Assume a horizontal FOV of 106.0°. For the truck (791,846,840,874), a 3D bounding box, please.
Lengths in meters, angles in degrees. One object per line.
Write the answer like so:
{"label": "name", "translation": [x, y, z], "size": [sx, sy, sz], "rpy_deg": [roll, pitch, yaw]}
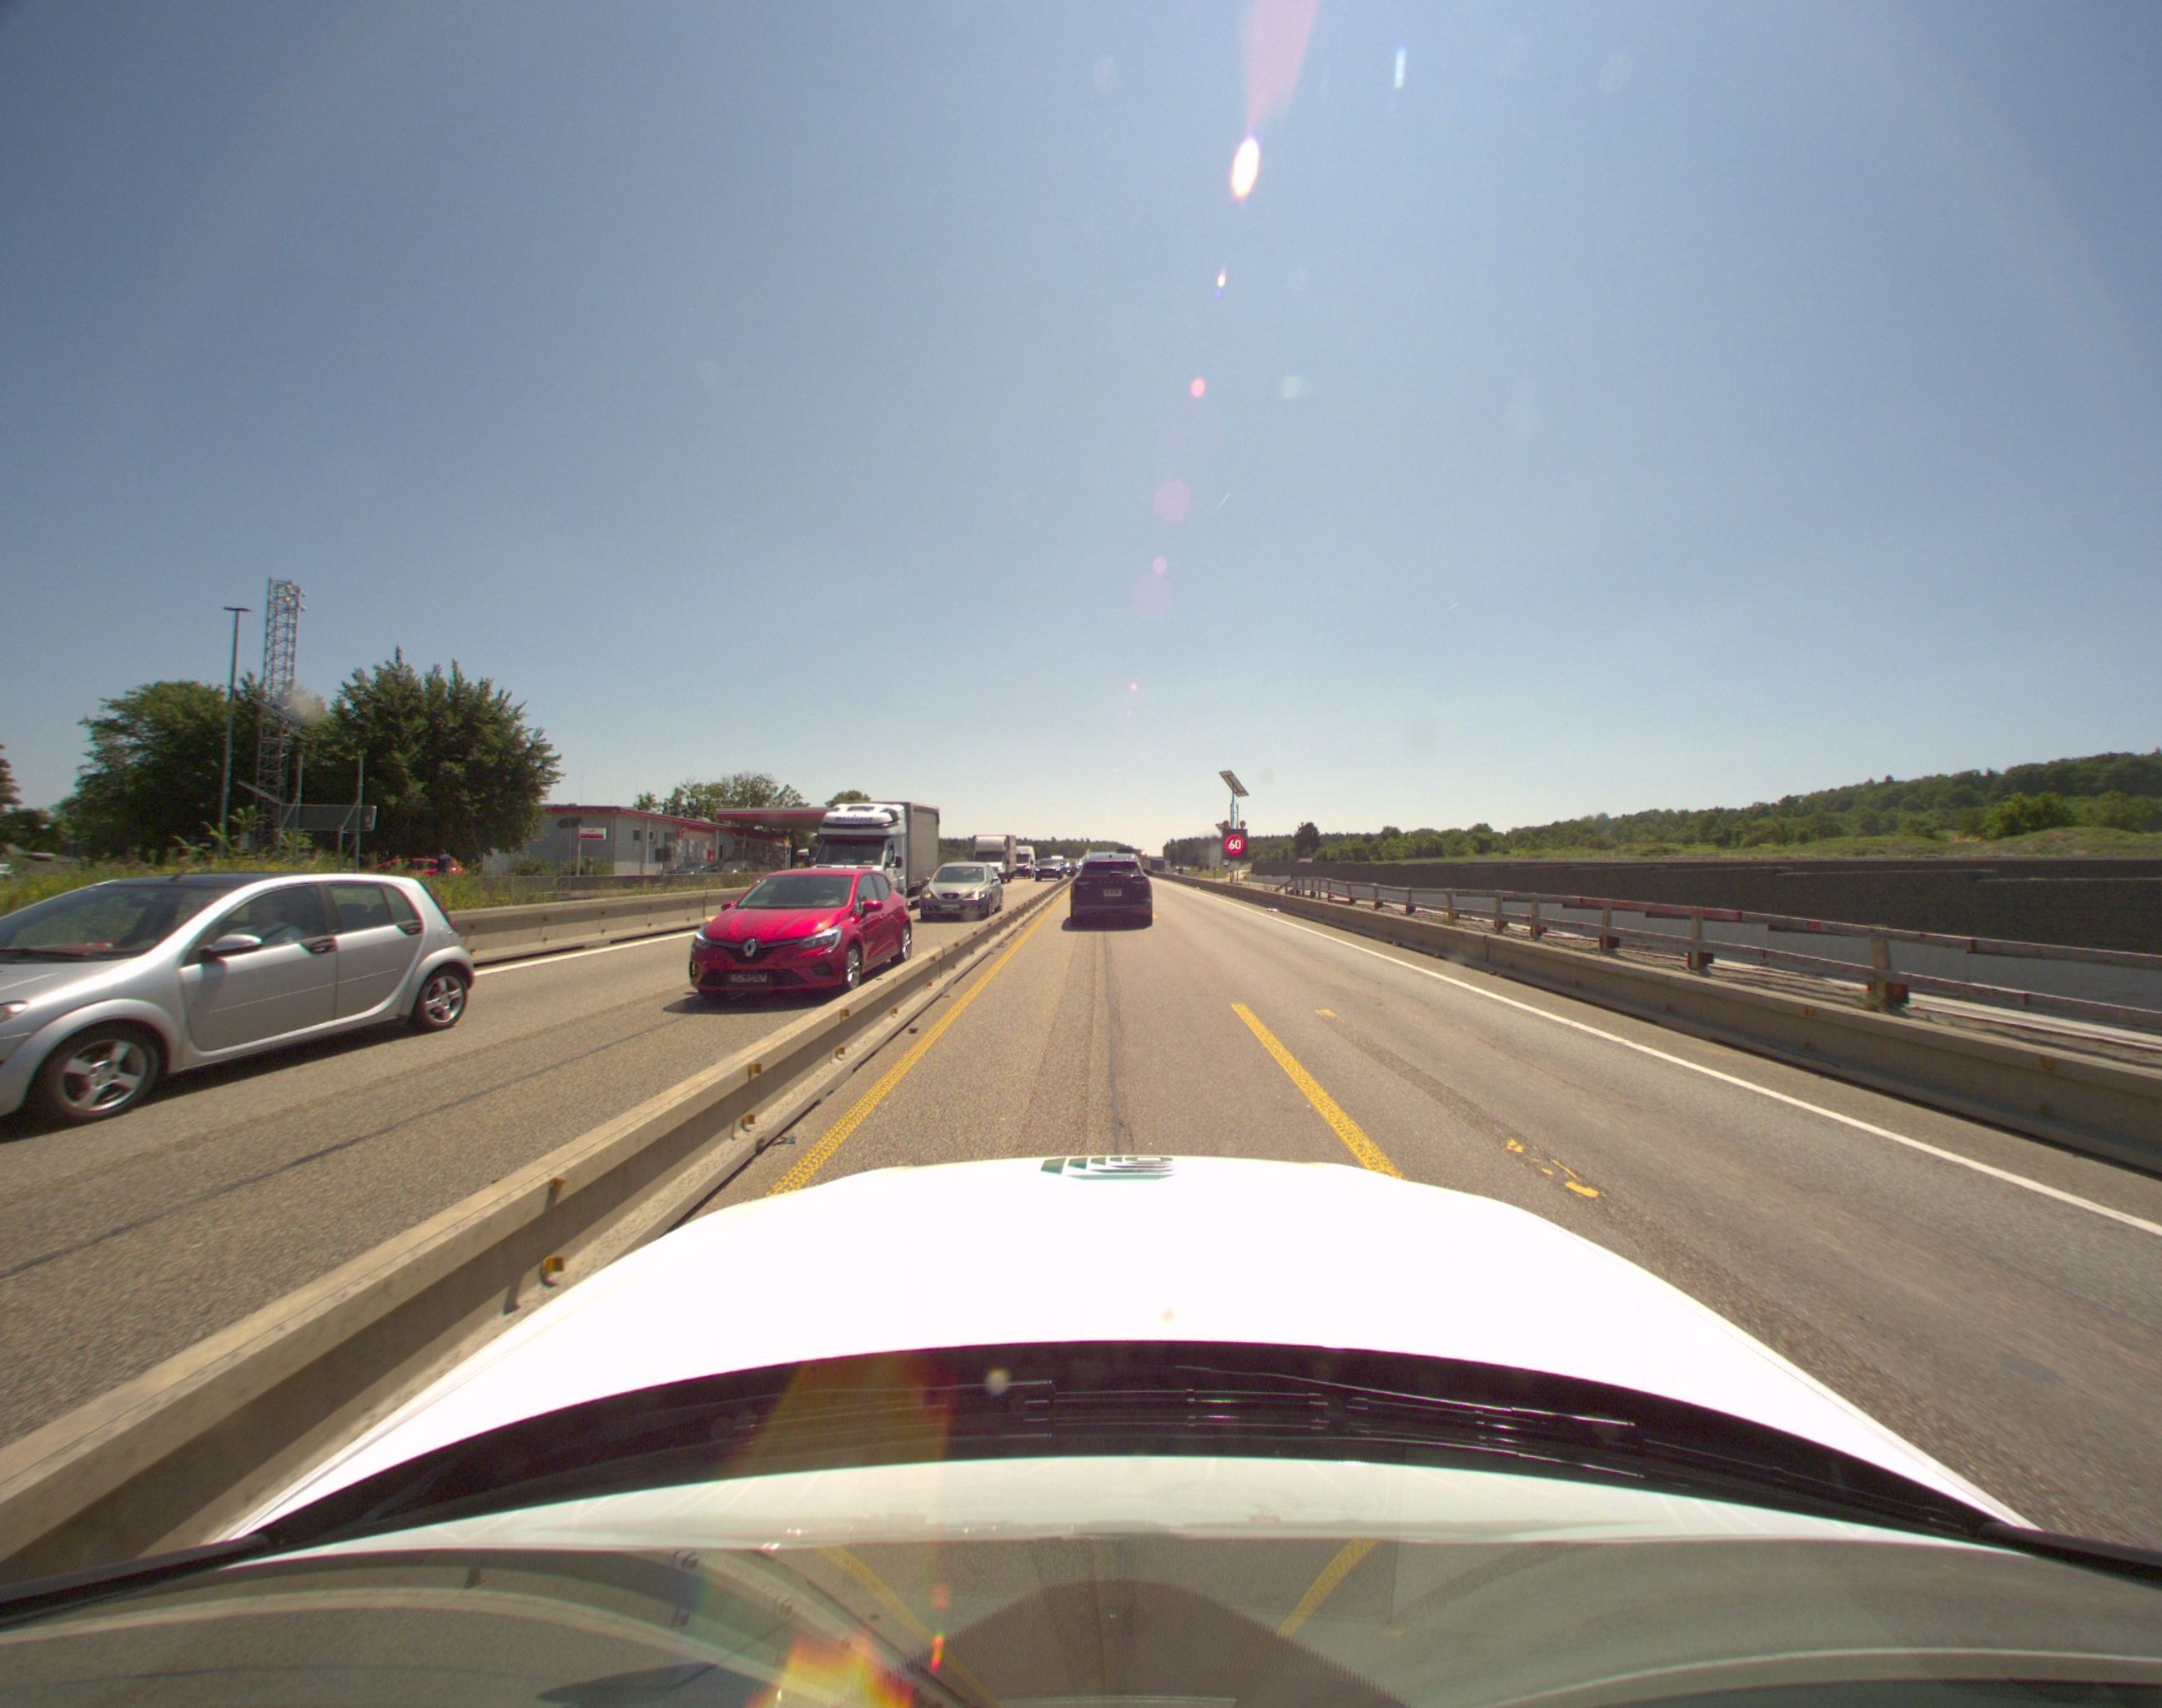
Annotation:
{"label": "truck", "translation": [-38.459, 0.879, 118.158], "size": [3.120, 3.985, 6.385], "rpy_deg": [-1, -1, 28]}

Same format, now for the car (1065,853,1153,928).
{"label": "car", "translation": [0.668, 0.764, 19.126], "size": [1.835, 1.582, 4.002], "rpy_deg": [0, 0, 2]}

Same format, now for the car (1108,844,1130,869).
{"label": "car", "translation": [6.907, 0.546, 147.355], "size": [3.422, 4.101, 9.205], "rpy_deg": [4, -1, 4]}

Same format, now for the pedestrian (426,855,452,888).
{"label": "pedestrian", "translation": [-23.413, 0.628, 29.709], "size": [0.470, 1.204, 0.588], "rpy_deg": [0, 0, 16]}

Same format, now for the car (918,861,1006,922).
{"label": "car", "translation": [-3.083, 0.934, 21.873], "size": [1.676, 1.429, 4.202], "rpy_deg": [-1, 0, 1]}

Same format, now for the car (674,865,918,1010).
{"label": "car", "translation": [-3.342, 0.887, 10.393], "size": [1.643, 1.434, 4.000], "rpy_deg": [-1, 0, 1]}

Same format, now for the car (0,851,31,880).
{"label": "car", "translation": [-55.666, 0.565, 40.505], "size": [3.980, 1.464, 1.997], "rpy_deg": [0, 0, -5]}

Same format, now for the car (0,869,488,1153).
{"label": "car", "translation": [-6.557, 0.867, 5.962], "size": [1.617, 1.448, 3.785], "rpy_deg": [0, 0, 0]}

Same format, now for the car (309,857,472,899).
{"label": "car", "translation": [-24.897, 0.863, 29.531], "size": [1.484, 1.332, 4.211], "rpy_deg": [3, 0, 31]}

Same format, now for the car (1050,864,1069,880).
{"label": "car", "translation": [-2.190, 1.808, 82.377], "size": [1.933, 1.611, 3.997], "rpy_deg": [0, 0, -2]}

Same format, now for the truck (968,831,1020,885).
{"label": "truck", "translation": [-5.672, 0.251, 54.259], "size": [2.486, 3.292, 8.118], "rpy_deg": [0, 0, 1]}

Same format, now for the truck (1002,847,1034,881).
{"label": "truck", "translation": [-5.286, 0.824, 69.571], "size": [2.232, 2.786, 6.491], "rpy_deg": [0, 0, 0]}

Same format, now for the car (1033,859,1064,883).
{"label": "car", "translation": [-2.335, 1.229, 59.550], "size": [1.935, 1.658, 4.746], "rpy_deg": [-1, 0, 1]}

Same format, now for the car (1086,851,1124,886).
{"label": "car", "translation": [1.294, 0.838, 45.900], "size": [1.987, 1.844, 3.999], "rpy_deg": [2, -1, 0]}

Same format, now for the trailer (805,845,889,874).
{"label": "trailer", "translation": [-35.363, 0.880, 124.006], "size": [3.120, 4.111, 14.248], "rpy_deg": [-1, -1, 28]}

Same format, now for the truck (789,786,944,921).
{"label": "truck", "translation": [-6.027, -0.004, 24.251], "size": [2.381, 3.385, 7.716], "rpy_deg": [0, 0, 1]}

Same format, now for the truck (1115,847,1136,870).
{"label": "truck", "translation": [5.833, 0.575, 107.633], "size": [2.662, 2.945, 5.623], "rpy_deg": [0, 0, 2]}

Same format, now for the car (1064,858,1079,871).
{"label": "car", "translation": [-1.186, 1.300, 105.348], "size": [1.838, 1.641, 4.001], "rpy_deg": [0, 0, 2]}

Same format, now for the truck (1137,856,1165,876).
{"label": "truck", "translation": [17.187, 3.043, 198.917], "size": [3.446, 4.220, 10.428], "rpy_deg": [5, -1, 22]}

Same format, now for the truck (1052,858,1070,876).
{"label": "truck", "translation": [-3.192, 2.056, 131.006], "size": [2.471, 2.824, 8.131], "rpy_deg": [0, -1, 1]}
